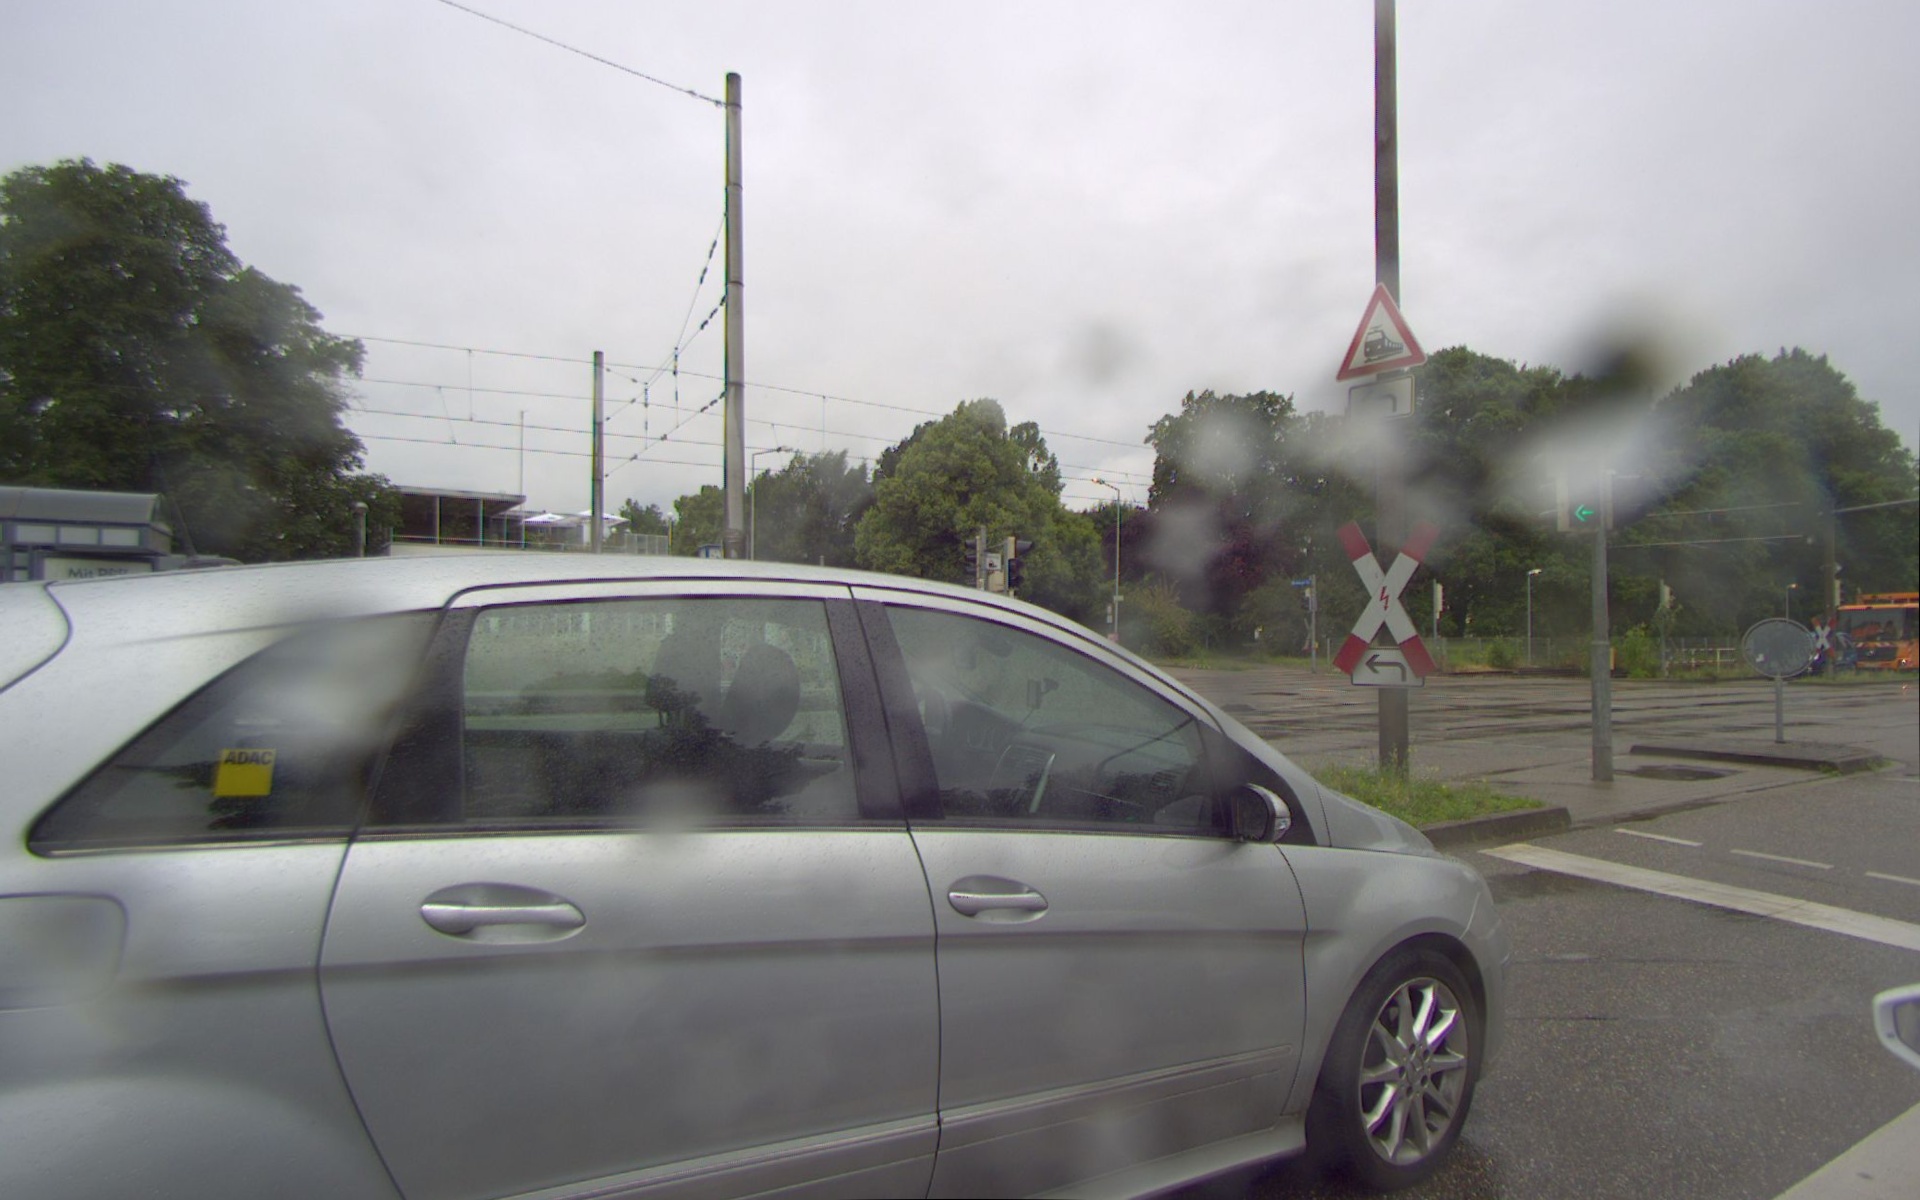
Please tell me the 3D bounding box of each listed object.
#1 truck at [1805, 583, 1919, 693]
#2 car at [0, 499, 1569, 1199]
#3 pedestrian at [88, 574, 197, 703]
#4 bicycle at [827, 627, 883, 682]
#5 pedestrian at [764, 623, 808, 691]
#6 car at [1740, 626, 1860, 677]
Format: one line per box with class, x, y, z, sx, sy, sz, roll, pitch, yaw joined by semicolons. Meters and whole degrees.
truck;40.051;1.584;42.553;10.288;4.223;3.367;2;0;-31
car;-0.360;0.697;2.647;3.967;1.564;1.728;1;-1;-31
pedestrian;-11.262;0.519;13.887;0.985;1.698;0.920;1;0;-29
bicycle;-3.445;1.773;33.026;1.714;1.784;0.637;1;-2;-30
pedestrian;-4.478;1.449;25.857;0.793;1.679;0.778;1;0;44
car;31.295;1.899;37.403;4.473;1.732;1.984;2;0;-30
